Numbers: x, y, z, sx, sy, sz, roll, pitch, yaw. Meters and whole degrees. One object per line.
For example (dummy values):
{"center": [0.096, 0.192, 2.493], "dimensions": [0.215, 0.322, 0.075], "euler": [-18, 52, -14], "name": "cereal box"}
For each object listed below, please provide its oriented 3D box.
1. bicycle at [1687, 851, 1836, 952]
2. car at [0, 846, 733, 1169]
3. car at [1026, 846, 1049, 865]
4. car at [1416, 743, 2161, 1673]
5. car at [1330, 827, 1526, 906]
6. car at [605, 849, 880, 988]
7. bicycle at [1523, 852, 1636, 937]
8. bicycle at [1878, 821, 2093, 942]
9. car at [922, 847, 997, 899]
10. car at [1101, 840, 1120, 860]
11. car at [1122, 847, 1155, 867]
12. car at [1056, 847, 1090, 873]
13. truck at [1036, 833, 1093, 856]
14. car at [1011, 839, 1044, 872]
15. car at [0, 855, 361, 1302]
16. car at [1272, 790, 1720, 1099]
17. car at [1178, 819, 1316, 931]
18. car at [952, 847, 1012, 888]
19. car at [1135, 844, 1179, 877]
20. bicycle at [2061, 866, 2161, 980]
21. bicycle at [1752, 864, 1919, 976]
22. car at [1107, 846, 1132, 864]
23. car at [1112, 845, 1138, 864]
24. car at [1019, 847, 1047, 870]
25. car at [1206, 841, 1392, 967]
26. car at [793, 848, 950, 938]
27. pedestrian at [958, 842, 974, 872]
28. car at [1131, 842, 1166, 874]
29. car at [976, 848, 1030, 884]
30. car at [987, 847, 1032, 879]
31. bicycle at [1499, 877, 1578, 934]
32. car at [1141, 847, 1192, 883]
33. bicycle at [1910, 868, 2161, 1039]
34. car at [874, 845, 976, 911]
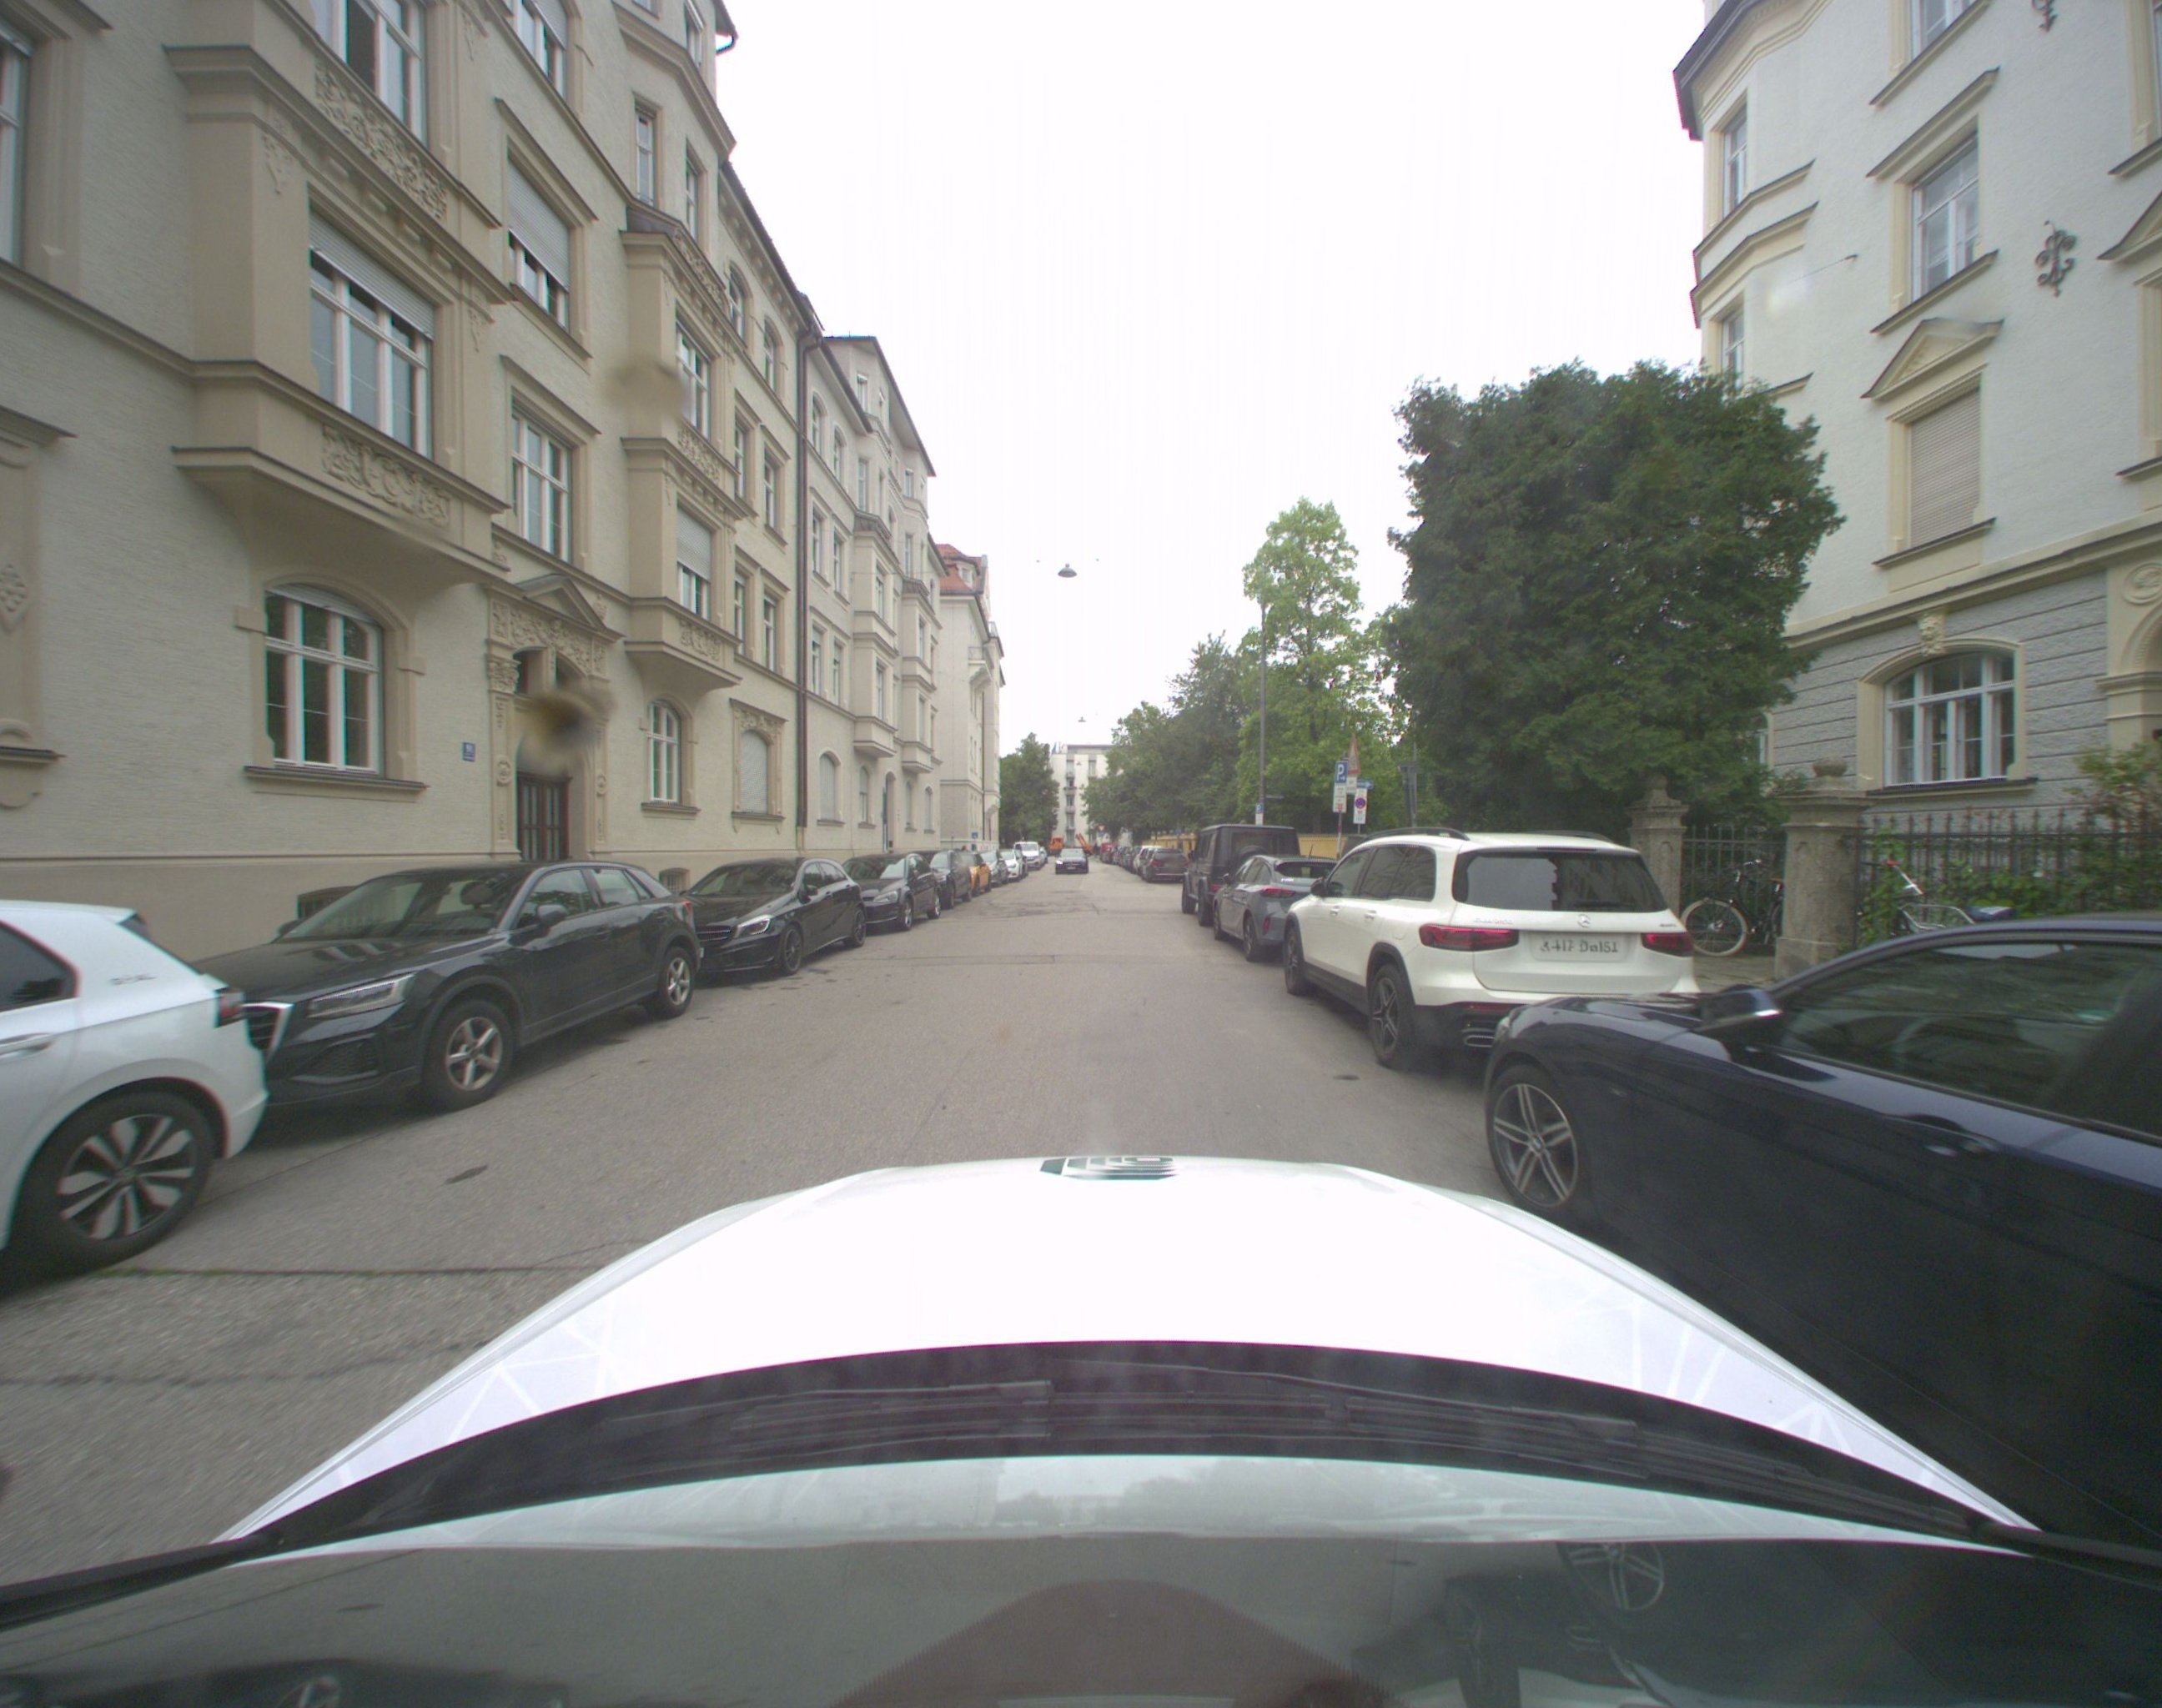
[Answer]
{"center": [8.450, 0.579, 10.130], "dimensions": [1.484, 1.198, 0.489], "euler": [2, 0, -5], "name": "bicycle"}
{"center": [-4.557, 0.753, 6.328], "dimensions": [1.765, 1.518, 4.384], "euler": [-3, 1, -1], "name": "car"}
{"center": [-4.234, 0.127, 79.544], "dimensions": [2.009, 1.634, 4.412], "euler": [-3, 1, -1], "name": "car"}
{"center": [2.735, 0.617, 2.150], "dimensions": [1.745, 1.610, 4.421], "euler": [1, 1, -2], "name": "car"}
{"center": [9.255, 0.273, 21.917], "dimensions": [4.522, 1.950, 1.900], "euler": [-1, 2, -6], "name": "car"}
{"center": [-4.310, 0.704, 11.287], "dimensions": [1.827, 1.434, 4.553], "euler": [-2, 1, 0], "name": "car"}
{"center": [6.908, 0.528, 11.351], "dimensions": [0.514, 1.094, 1.347], "euler": [0, 0, -16], "name": "bicycle"}
{"center": [9.300, 0.276, 8.404], "dimensions": [1.694, 1.183, 0.489], "euler": [1, 0, -1], "name": "bicycle"}
{"center": [-3.920, 0.568, 26.899], "dimensions": [1.634, 1.499, 3.974], "euler": [-3, 1, 3], "name": "car"}
{"center": [3.122, -0.428, 85.291], "dimensions": [1.828, 1.926, 4.009], "euler": [2, 1, 3], "name": "car"}
{"center": [3.859, 0.192, 55.600], "dimensions": [1.834, 1.346, 3.944], "euler": [1, 0, -2], "name": "car"}
{"center": [-0.465, 0.319, 47.159], "dimensions": [1.869, 1.428, 4.407], "euler": [0, 0, -1], "name": "car"}
{"center": [-2.386, -1.331, 115.825], "dimensions": [7.676, 3.241, 2.887], "euler": [-1, 0, -12], "name": "truck"}
{"center": [-3.625, 0.071, 55.878], "dimensions": [1.880, 2.127, 4.705], "euler": [-3, 1, -1], "name": "car"}
{"center": [-4.453, 0.785, 1.830], "dimensions": [1.830, 1.434, 4.244], "euler": [-2, 1, 0], "name": "car"}
{"center": [2.984, 0.534, 7.056], "dimensions": [1.716, 1.769, 4.415], "euler": [2, 0, 2], "name": "car"}
{"center": [3.248, 0.317, 16.900], "dimensions": [1.944, 1.954, 4.667], "euler": [1, 1, 1], "name": "car"}
{"center": [-3.881, 0.508, 32.474], "dimensions": [1.719, 1.499, 3.932], "euler": [-2, 0, 2], "name": "car"}
{"center": [3.702, 0.291, 40.109], "dimensions": [1.648, 1.519, 3.792], "euler": [1, 0, -2], "name": "car"}
{"center": [11.197, 0.683, 8.382], "dimensions": [1.695, 1.109, 0.489], "euler": [-1, 0, -2], "name": "bicycle"}
{"center": [7.748, 0.661, 8.388], "dimensions": [1.305, 1.098, 0.456], "euler": [0, 0, -1], "name": "bicycle"}
{"center": [3.454, 0.091, 73.558], "dimensions": [1.834, 1.519, 3.944], "euler": [1, 0, -2], "name": "car"}
{"center": [3.754, 0.067, 69.374], "dimensions": [1.834, 1.519, 3.944], "euler": [1, 0, -2], "name": "car"}
{"center": [-3.928, 0.351, 67.817], "dimensions": [2.009, 1.726, 4.273], "euler": [-3, 1, -1], "name": "car"}
{"center": [3.029, 0.625, 12.061], "dimensions": [1.717, 1.518, 3.630], "euler": [2, 0, 0], "name": "car"}
{"center": [-4.000, 0.666, 16.338], "dimensions": [1.829, 1.435, 4.247], "euler": [-3, 1, 2], "name": "car"}
{"center": [-6.441, 0.163, 45.750], "dimensions": [0.789, 1.679, 0.700], "euler": [0, 0, 0], "name": "pedestrian"}
{"center": [3.674, 0.231, 44.841], "dimensions": [1.509, 1.661, 3.672], "euler": [1, 0, -1], "name": "car"}
{"center": [-3.505, 0.518, 37.366], "dimensions": [1.829, 1.438, 4.277], "euler": [-3, 1, 2], "name": "car"}
{"center": [-3.647, 0.421, 42.185], "dimensions": [1.830, 1.499, 4.274], "euler": [-3, 1, 0], "name": "car"}
{"center": [7.025, 0.777, 12.572], "dimensions": [0.511, 0.781, 1.355], "euler": [0, 0, 2], "name": "bicycle"}
{"center": [3.626, 0.440, 35.098], "dimensions": [1.832, 1.413, 4.343], "euler": [1, 0, 1], "name": "car"}
{"center": [7.040, 0.665, 6.039], "dimensions": [0.453, 1.098, 1.313], "euler": [0, 0, 0], "name": "bicycle"}
{"center": [-4.041, 0.557, 21.724], "dimensions": [1.746, 1.499, 4.021], "euler": [-2, 1, 2], "name": "car"}
